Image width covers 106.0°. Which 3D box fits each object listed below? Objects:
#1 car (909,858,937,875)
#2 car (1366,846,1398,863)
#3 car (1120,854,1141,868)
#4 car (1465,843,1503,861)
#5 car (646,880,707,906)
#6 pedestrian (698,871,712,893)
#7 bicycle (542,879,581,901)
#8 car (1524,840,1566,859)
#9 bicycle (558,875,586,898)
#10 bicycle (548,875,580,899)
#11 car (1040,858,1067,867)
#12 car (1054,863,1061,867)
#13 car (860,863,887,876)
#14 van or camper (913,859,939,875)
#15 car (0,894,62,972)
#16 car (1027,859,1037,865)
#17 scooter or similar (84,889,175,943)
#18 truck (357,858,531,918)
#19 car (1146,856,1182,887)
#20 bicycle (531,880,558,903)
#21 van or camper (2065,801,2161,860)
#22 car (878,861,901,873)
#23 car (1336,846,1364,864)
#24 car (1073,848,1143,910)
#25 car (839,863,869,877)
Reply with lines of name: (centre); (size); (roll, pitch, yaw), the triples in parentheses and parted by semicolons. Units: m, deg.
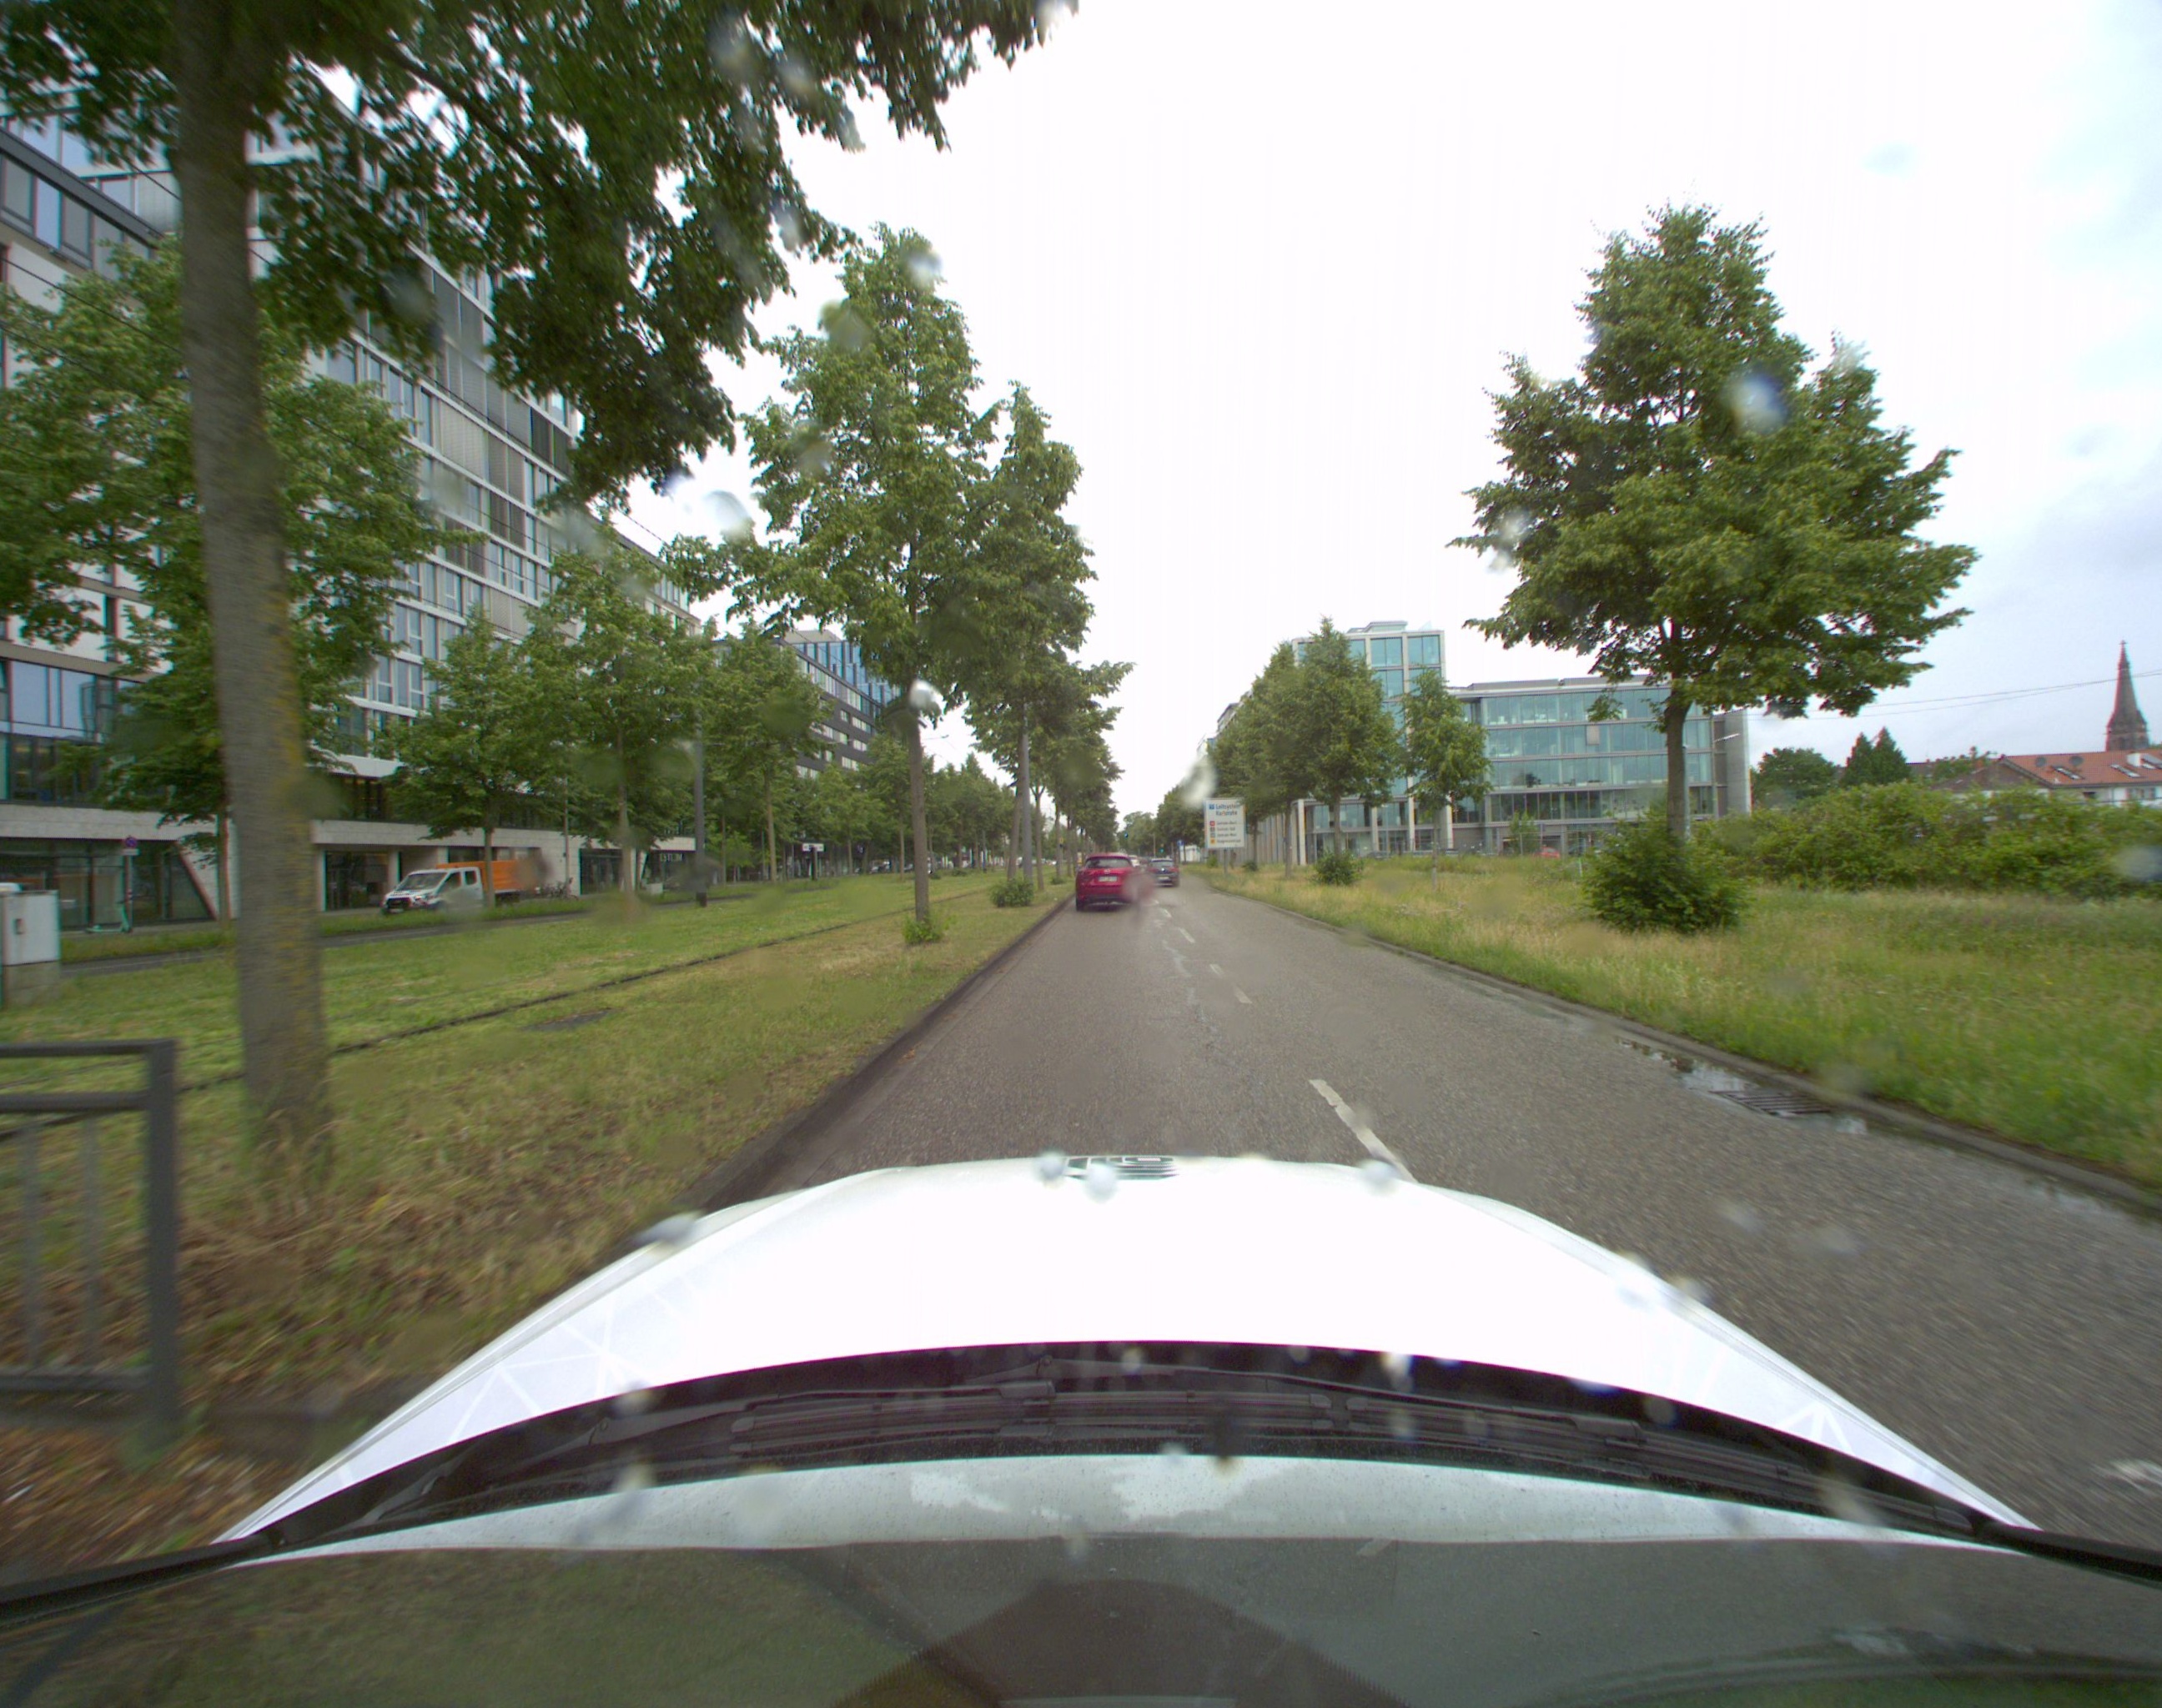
car: (-16.705, 1.328, 86.164); (1.985, 1.656, 3.702); (-2, 0, 3)
car: (27.618, 0.062, 74.849); (1.845, 1.455, 4.567); (-2, 0, 8)
car: (5.183, 0.739, 86.179); (1.960, 1.437, 4.553); (-2, 0, 1)
car: (36.305, -0.184, 73.503); (1.776, 1.475, 4.239); (-2, 0, 8)
car: (-26.310, 2.509, 53.105); (1.848, 1.465, 3.990); (-2, 0, 2)
pedestrian: (-34.784, 2.577, 75.277); (0.791, 1.981, 0.857); (-1, 0, 3)
bicycle: (-25.004, 1.734, 39.254); (0.596, 0.945, 1.760); (-2, 0, 6)
car: (41.347, -0.385, 72.640); (1.845, 1.601, 4.009); (-2, 0, 8)
bicycle: (-35.425, 2.251, 56.722); (1.562, 1.538, 0.607); (-1, 0, 1)
bicycle: (-35.212, 2.246, 55.503); (1.697, 1.538, 0.681); (-1, 0, 1)
car: (-5.221, 1.633, 153.606); (4.690, 1.521, 1.983); (-1, 0, -26)
car: (-7.453, 3.471, 257.663); (1.703, 1.404, 4.002); (-2, 0, 2)
car: (-24.239, 1.770, 95.239); (1.986, 1.378, 4.002); (-2, 0, 2)
van or camper: (-23.133, 1.954, 122.007); (2.423, 2.315, 5.854); (-1, 0, 2)
car: (-27.788, 2.012, 18.758); (1.986, 1.852, 5.167); (-2, 0, 2)
car: (-11.488, 1.893, 192.375); (1.855, 1.524, 4.482); (-2, 0, 3)
scooter or similar: (-34.227, 2.220, 29.314); (2.119, 1.825, 0.884); (-1, 0, -2)
truck: (-27.507, 1.366, 35.588); (2.417, 2.291, 6.312); (-2, 0, 2)
car: (4.336, 0.860, 42.165); (1.734, 1.465, 3.789); (-1, 0, 7)
bicycle: (-35.377, 2.470, 53.691); (1.427, 1.482, 0.546); (-1, 0, 1)
van or camper: (56.459, -1.220, 42.199); (2.895, 2.994, 6.781); (-2, 0, 3)
car: (-23.846, 1.583, 101.570); (1.695, 1.449, 4.244); (-2, 0, 2)
car: (24.884, 0.074, 75.489); (1.844, 1.581, 4.011); (-2, 0, 10)
car: (0.812, 0.687, 24.402); (1.891, 1.677, 4.002); (-1, 0, 2)
car: (-24.773, 1.698, 89.053); (1.986, 1.378, 4.002); (-2, 0, 2)
